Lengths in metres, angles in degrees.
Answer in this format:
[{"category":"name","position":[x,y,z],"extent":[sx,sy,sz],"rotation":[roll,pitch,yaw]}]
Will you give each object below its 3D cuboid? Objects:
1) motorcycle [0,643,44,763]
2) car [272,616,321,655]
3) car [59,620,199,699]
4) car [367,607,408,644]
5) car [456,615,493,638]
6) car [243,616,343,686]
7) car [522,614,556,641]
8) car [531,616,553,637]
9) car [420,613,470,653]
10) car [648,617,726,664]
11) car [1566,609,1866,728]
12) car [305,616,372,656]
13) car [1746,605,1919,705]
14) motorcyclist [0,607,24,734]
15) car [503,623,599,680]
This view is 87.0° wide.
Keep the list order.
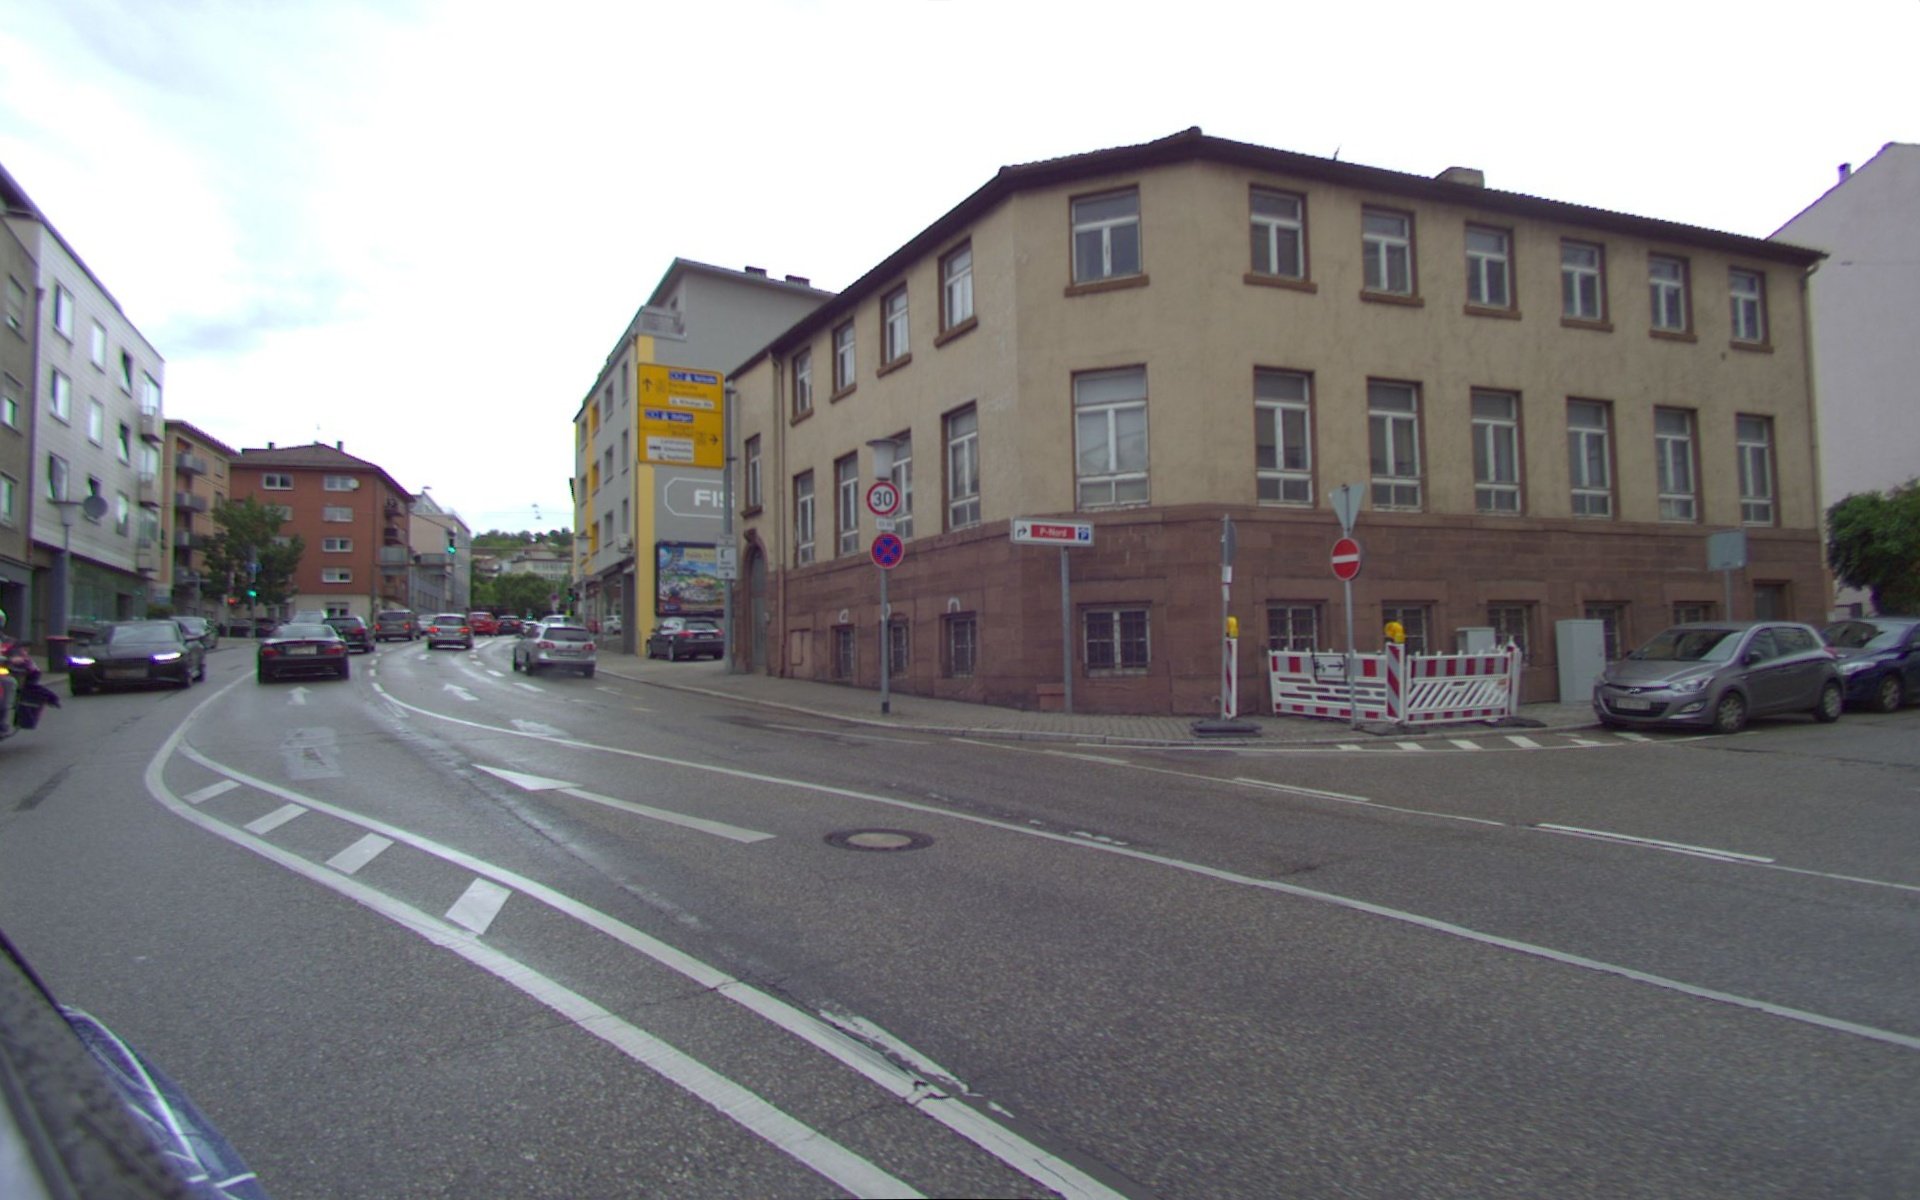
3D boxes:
[{"category":"motorcycle","position":[-11.215,1.151,11.342],"extent":[0.994,1.235,2.701],"rotation":[-2,0,-34]},{"category":"car","position":[-34.043,1.799,52.017],"extent":[1.818,1.918,3.777],"rotation":[1,-1,-29]},{"category":"car","position":[-17.832,1.201,21.915],"extent":[1.678,1.471,4.331],"rotation":[-2,0,-31]},{"category":"car","position":[-30.464,1.355,53.880],"extent":[1.818,1.918,3.776],"rotation":[1,-1,-30]},{"category":"car","position":[-32.143,1.744,66.908],"extent":[1.832,1.465,4.331],"rotation":[1,-2,-30]},{"category":"car","position":[-16.100,1.172,24.558],"extent":[1.832,1.465,4.330],"rotation":[-2,0,-32]},{"category":"car","position":[-27.716,1.779,66.574],"extent":[1.831,1.710,4.332],"rotation":[1,-2,-25]},{"category":"car","position":[-39.684,2.474,96.017],"extent":[1.818,1.918,3.777],"rotation":[1,-1,-24]},{"category":"car","position":[-23.486,1.490,46.085],"extent":[1.831,1.711,4.332],"rotation":[1,-2,-29]},{"category":"car","position":[-9.650,1.397,35.548],"extent":[1.831,1.465,3.975],"rotation":[-3,0,-27]},{"category":"car","position":[10.951,0.955,14.683],"extent":[3.747,1.478,1.759],"rotation":[-1,-3,-23]},{"category":"car","position":[-23.792,1.362,38.874],"extent":[1.831,1.465,4.332],"rotation":[1,-2,-27]},{"category":"car","position":[15.121,0.859,16.605],"extent":[3.454,1.478,1.759],"rotation":[-1,-3,-17]},{"category":"motorcyclist","position":[-11.151,0.796,11.211],"extent":[0.994,1.391,0.837],"rotation":[-2,0,-34]},{"category":"car","position":[-11.750,1.441,28.933],"extent":[1.832,1.465,4.331],"rotation":[4,-3,-31]}]
